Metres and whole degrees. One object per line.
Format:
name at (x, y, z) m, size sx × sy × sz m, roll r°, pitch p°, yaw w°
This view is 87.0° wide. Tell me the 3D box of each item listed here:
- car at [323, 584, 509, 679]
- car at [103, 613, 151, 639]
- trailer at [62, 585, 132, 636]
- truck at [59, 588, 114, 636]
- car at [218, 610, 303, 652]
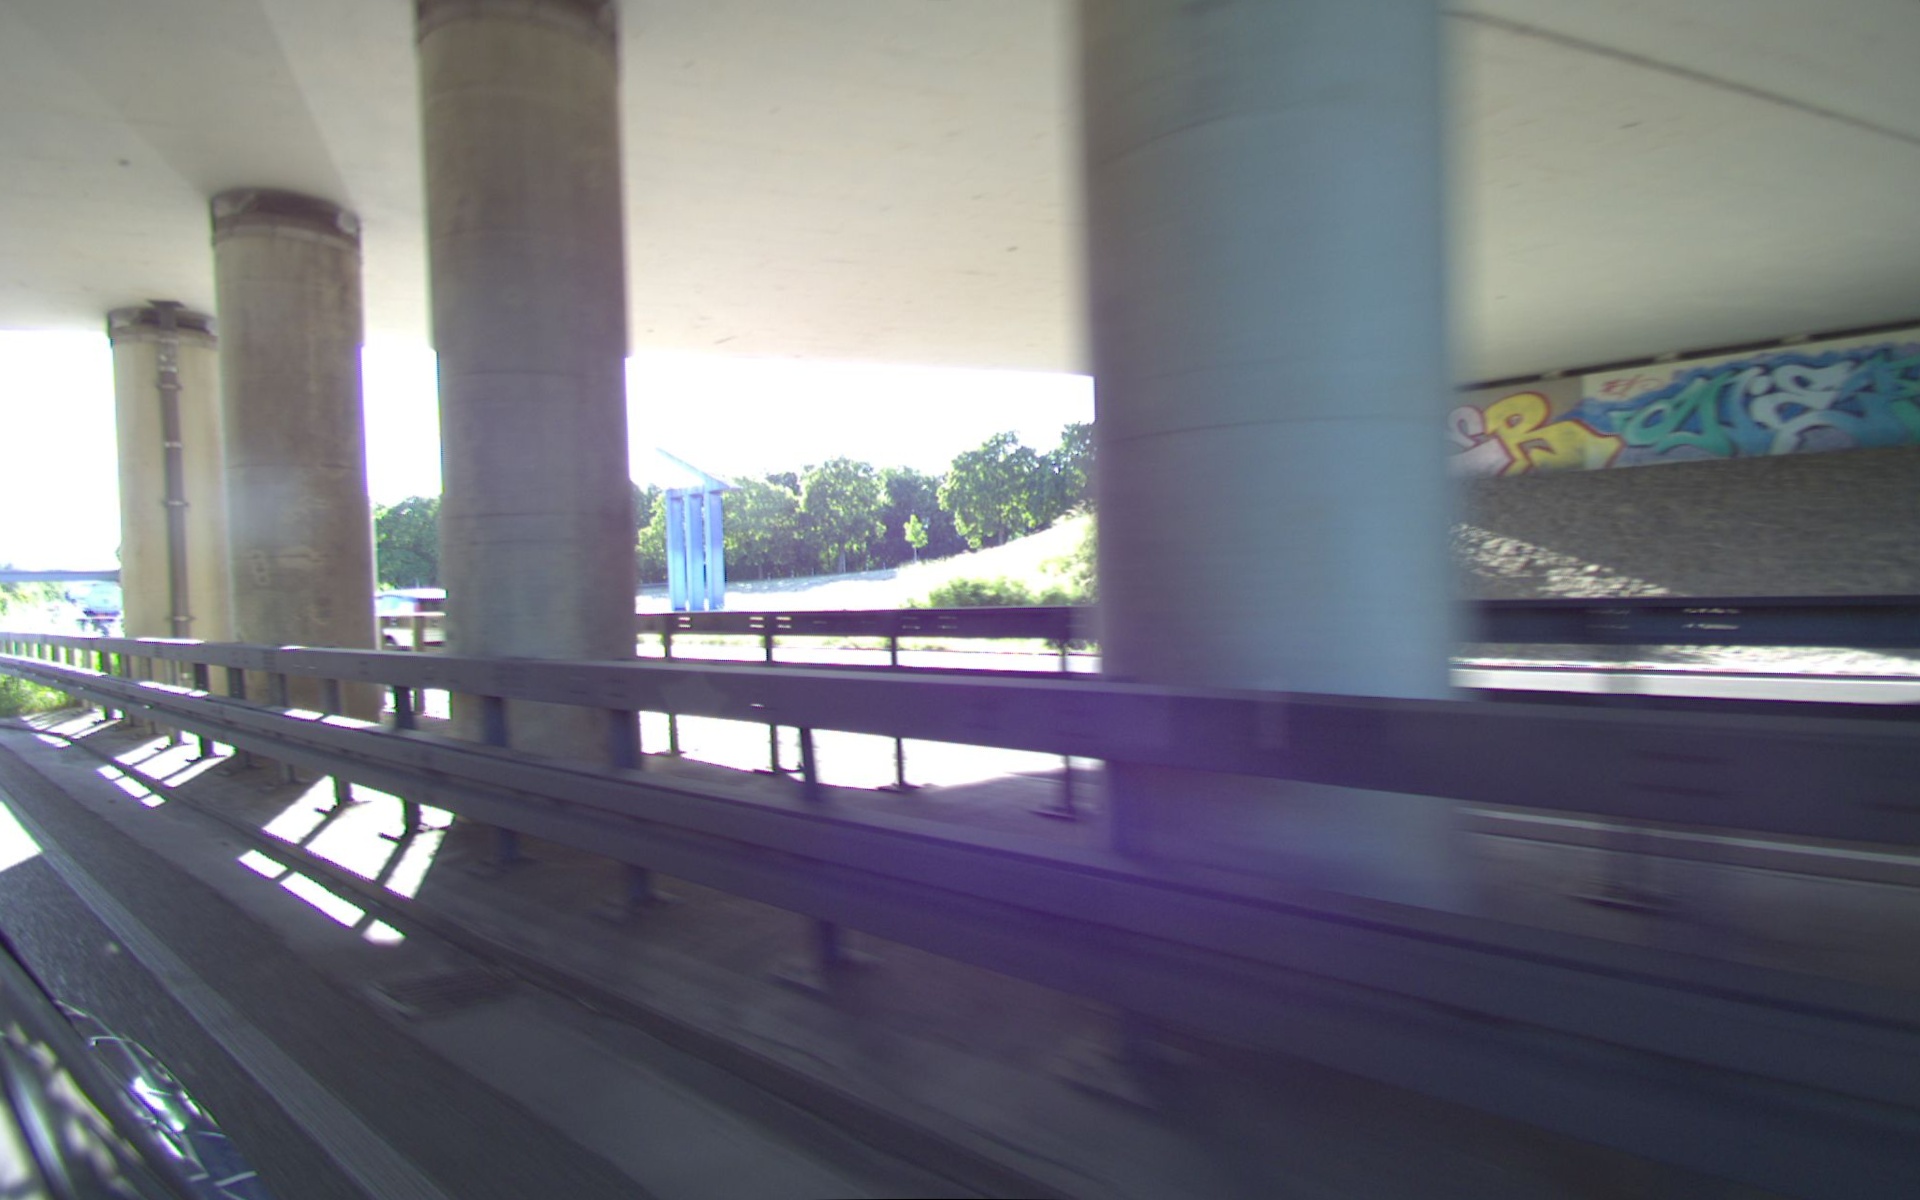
car at (-10.236, 0.552, 18.937) m, size 3.997 × 1.586 × 1.718 m, roll -1°, pitch 0°, yaw 40°
car at (-50.848, 1.554, 61.767) m, size 4.110 × 1.454 × 1.742 m, roll -1°, pitch 1°, yaw 43°
trailer at (-67.059, 0.871, 78.540) m, size 12.206 × 3.685 × 2.746 m, roll -2°, pitch 1°, yaw 43°
truck at (-71.370, 0.980, 82.650) m, size 5.324 × 3.685 × 2.746 m, roll -2°, pitch 1°, yaw 43°
car at (-27.589, 1.196, 39.850) m, size 4.456 × 1.517 × 1.730 m, roll -2°, pitch 0°, yaw 42°
